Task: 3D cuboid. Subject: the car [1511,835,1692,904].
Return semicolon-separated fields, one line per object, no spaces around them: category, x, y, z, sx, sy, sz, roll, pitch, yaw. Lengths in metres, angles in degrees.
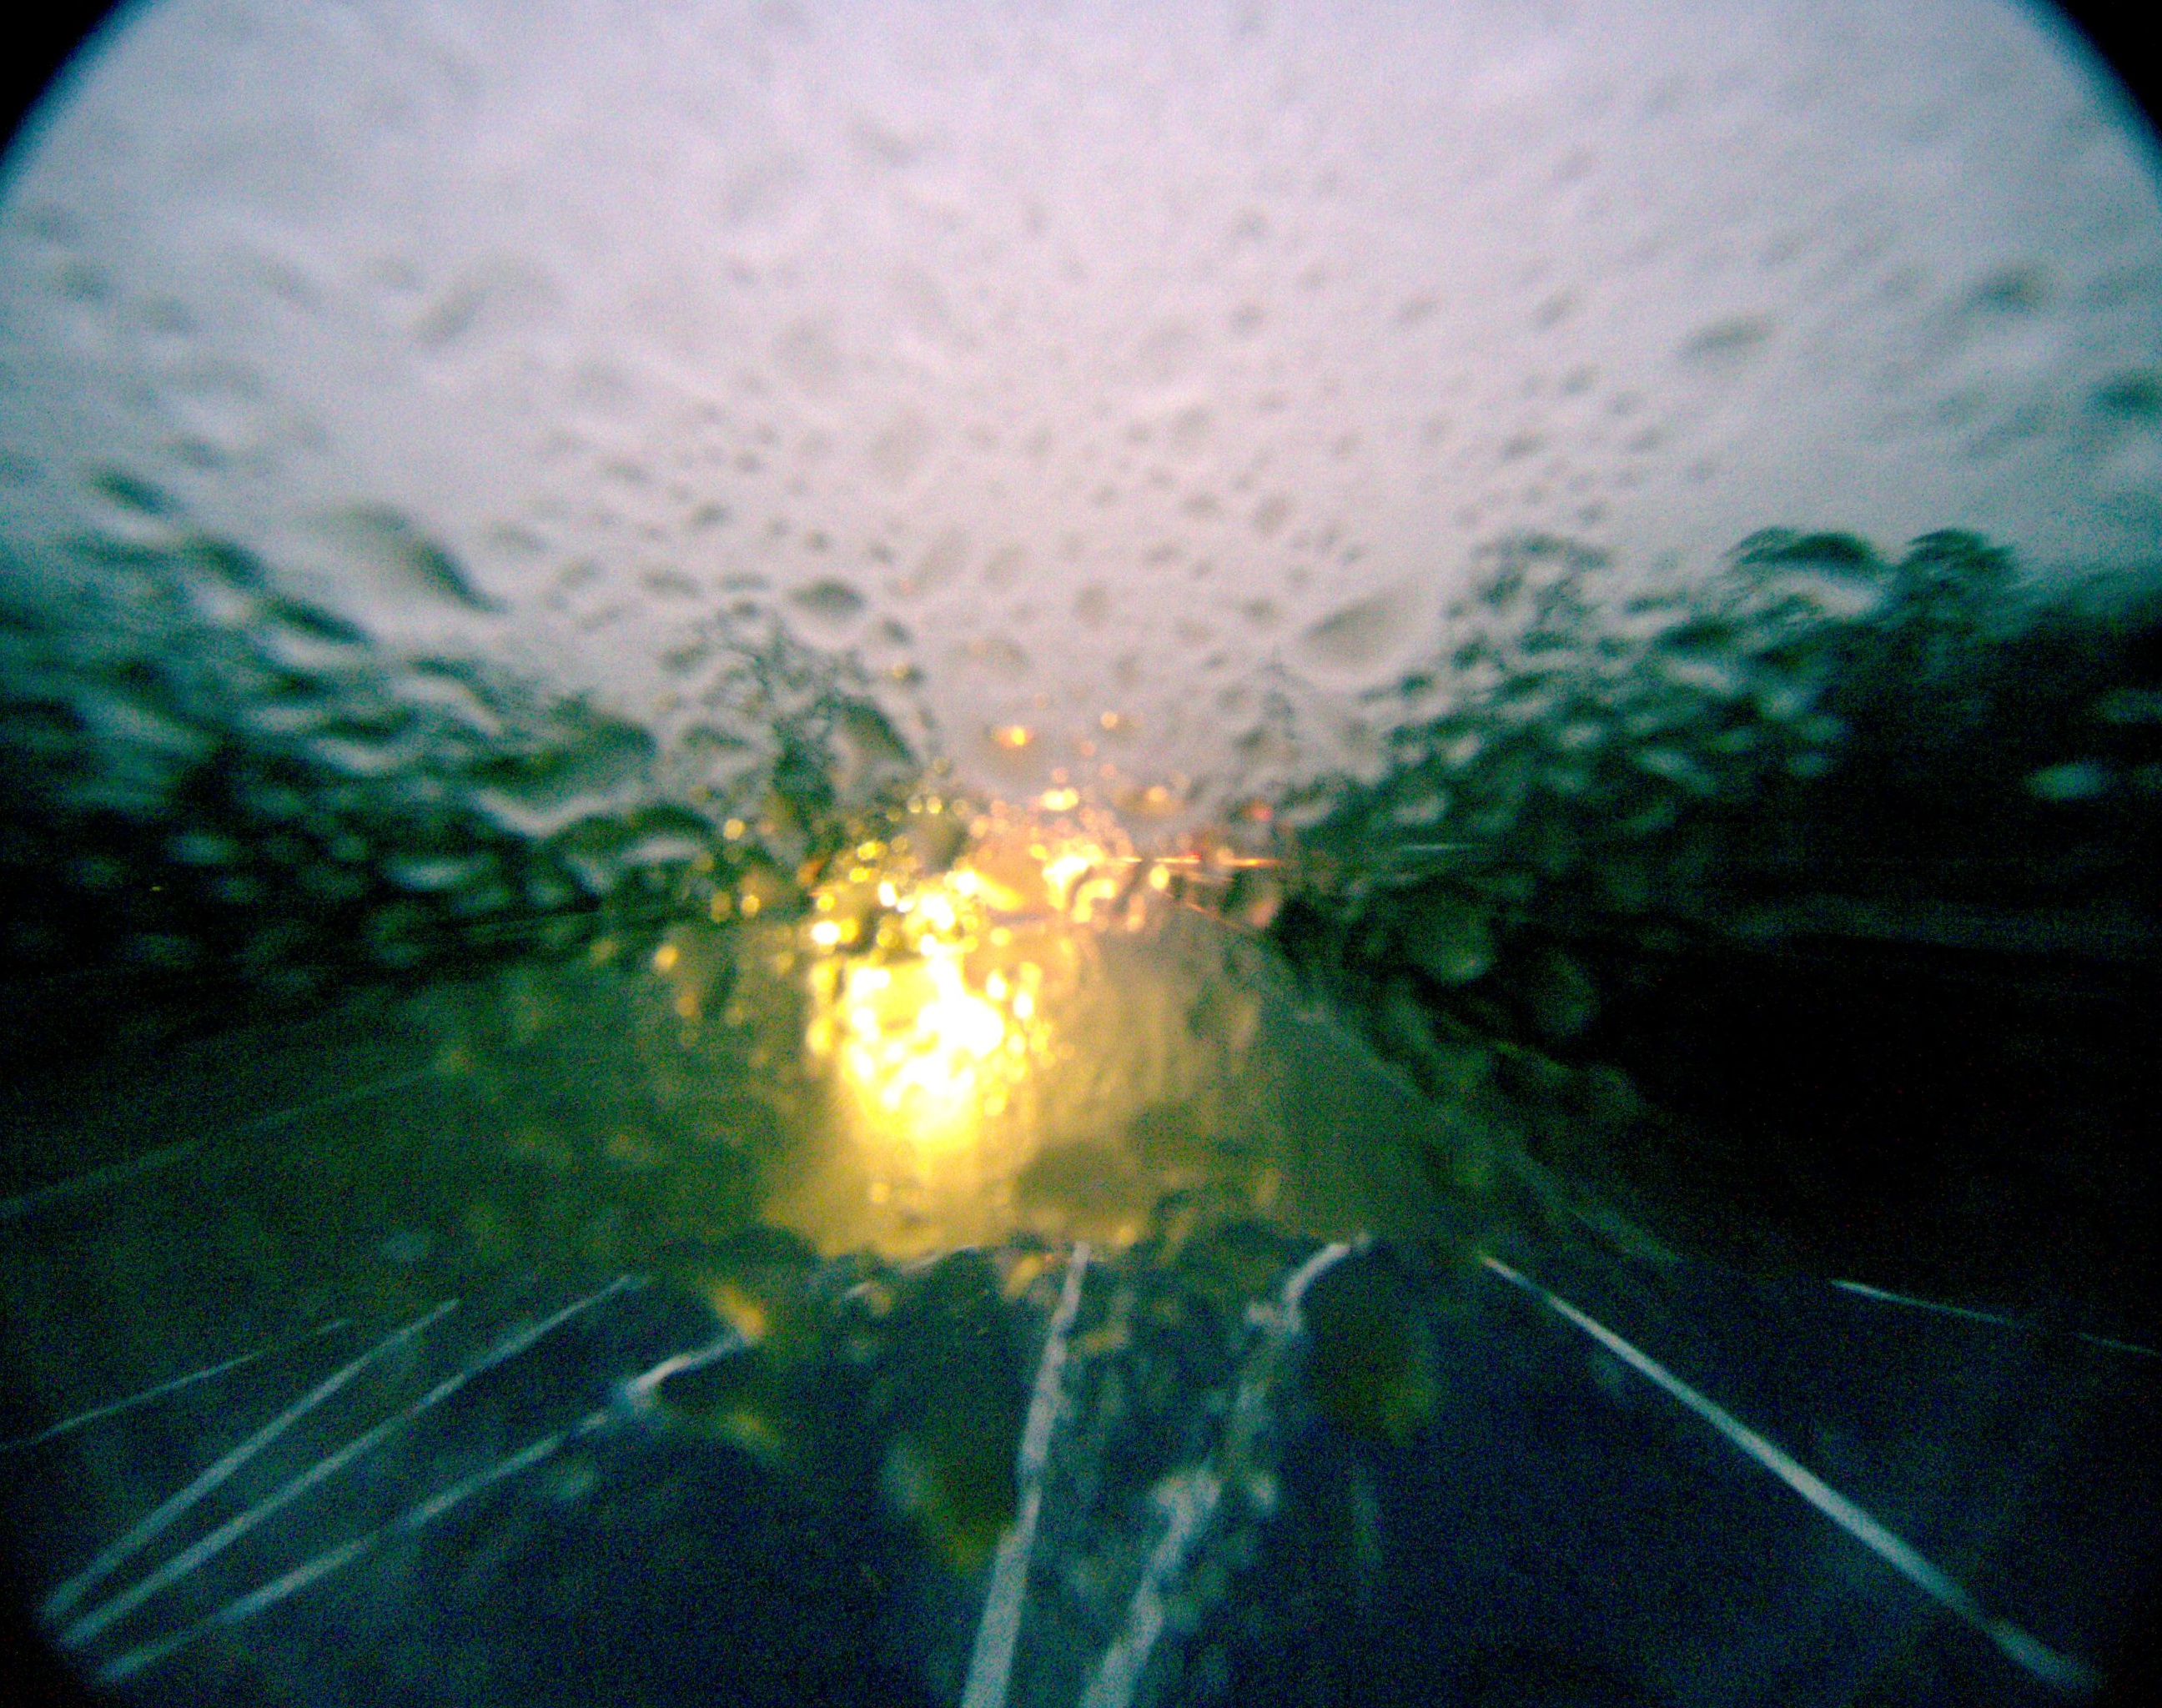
car;11.953;0.310;17.813;1.502;1.388;4.053;-1;0;1

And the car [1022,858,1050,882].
car;-3.075;1.050;52.308;1.598;1.482;3.594;-3;0;0

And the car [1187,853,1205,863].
car;15.861;0.535;104.961;1.708;1.343;4.156;-3;0;0

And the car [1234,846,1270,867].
car;12.704;0.188;56.553;1.731;1.452;4.416;-1;0;1

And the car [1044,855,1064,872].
car;-2.564;0.896;73.141;1.682;1.500;3.808;-3;0;0

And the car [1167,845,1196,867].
car;7.970;0.170;60.732;1.731;1.579;4.416;-4;0;1

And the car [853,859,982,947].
car;-3.223;0.912;15.740;1.791;1.508;3.811;-2;0;0

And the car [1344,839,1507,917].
car;7.671;0.463;17.448;1.731;1.452;4.416;-4;0;1

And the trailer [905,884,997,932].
trailer;-3.184;1.314;19.117;1.752;0.919;2.951;-2;0;0
